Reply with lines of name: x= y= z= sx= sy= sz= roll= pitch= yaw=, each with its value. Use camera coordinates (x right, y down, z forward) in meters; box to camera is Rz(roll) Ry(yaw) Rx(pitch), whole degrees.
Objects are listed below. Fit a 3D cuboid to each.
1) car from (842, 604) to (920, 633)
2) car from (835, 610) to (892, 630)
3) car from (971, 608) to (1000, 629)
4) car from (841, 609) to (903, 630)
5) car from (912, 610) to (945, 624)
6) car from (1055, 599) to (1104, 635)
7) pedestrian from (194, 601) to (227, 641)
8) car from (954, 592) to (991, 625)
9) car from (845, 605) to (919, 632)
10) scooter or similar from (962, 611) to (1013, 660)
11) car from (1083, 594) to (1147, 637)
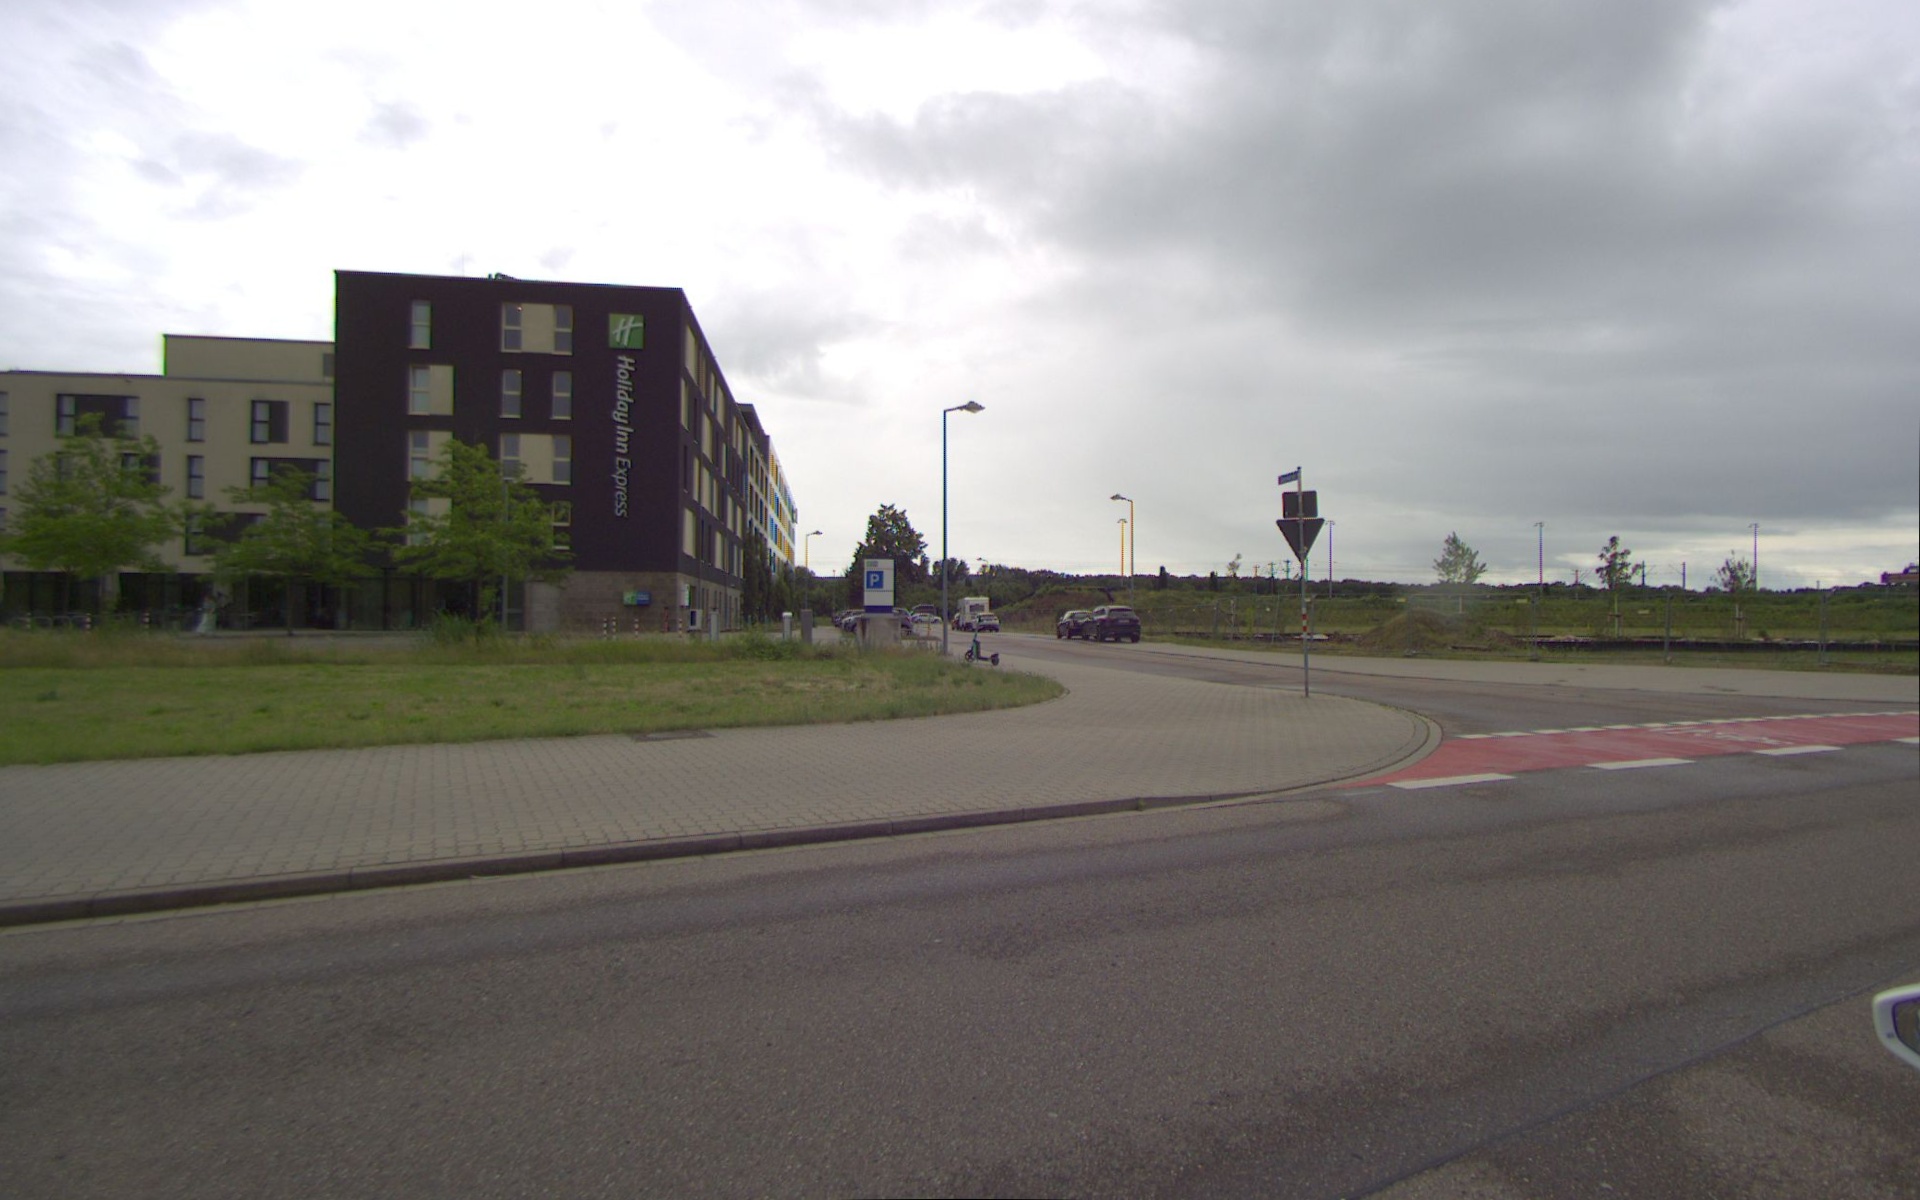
car: x=-4.158 y=0.973 z=52.463 sx=3.927 sy=1.461 sz=1.696 roll=0 pitch=0 yaw=-9
car: x=-6.903 y=1.410 z=71.915 sx=3.928 sy=1.416 sz=1.742 roll=0 pitch=-1 yaw=-11
car: x=2.154 y=1.588 z=86.034 sx=1.963 sy=1.770 sz=3.995 roll=0 pitch=0 yaw=-7
car: x=-5.887 y=1.299 z=67.097 sx=3.930 sy=1.416 sz=1.741 roll=0 pitch=-1 yaw=-12
car: x=-4.708 y=2.556 z=151.773 sx=4.830 sy=2.040 sz=1.998 roll=0 pitch=-1 yaw=-7
car: x=6.143 y=0.856 z=51.967 sx=1.771 sy=1.776 sz=3.673 roll=0 pitch=0 yaw=-5
pedestrian: x=-30.688 y=0.858 z=41.138 sx=0.864 sy=1.592 sz=0.948 roll=0 pitch=0 yaw=-24
car: x=1.084 y=0.766 z=94.134 sx=2.664 sy=2.996 sz=6.569 roll=0 pitch=0 yaw=-7
car: x=-4.651 y=1.070 z=59.861 sx=4.084 sy=1.538 sz=1.994 roll=0 pitch=0 yaw=-15
scooter or similar: x=0.697 y=0.892 z=25.478 sx=0.565 sy=1.184 sz=1.454 roll=1 pitch=0 yaw=-33
car: x=7.100 y=0.699 z=46.419 sx=1.963 sy=1.847 sz=3.996 roll=0 pitch=0 yaw=-6
